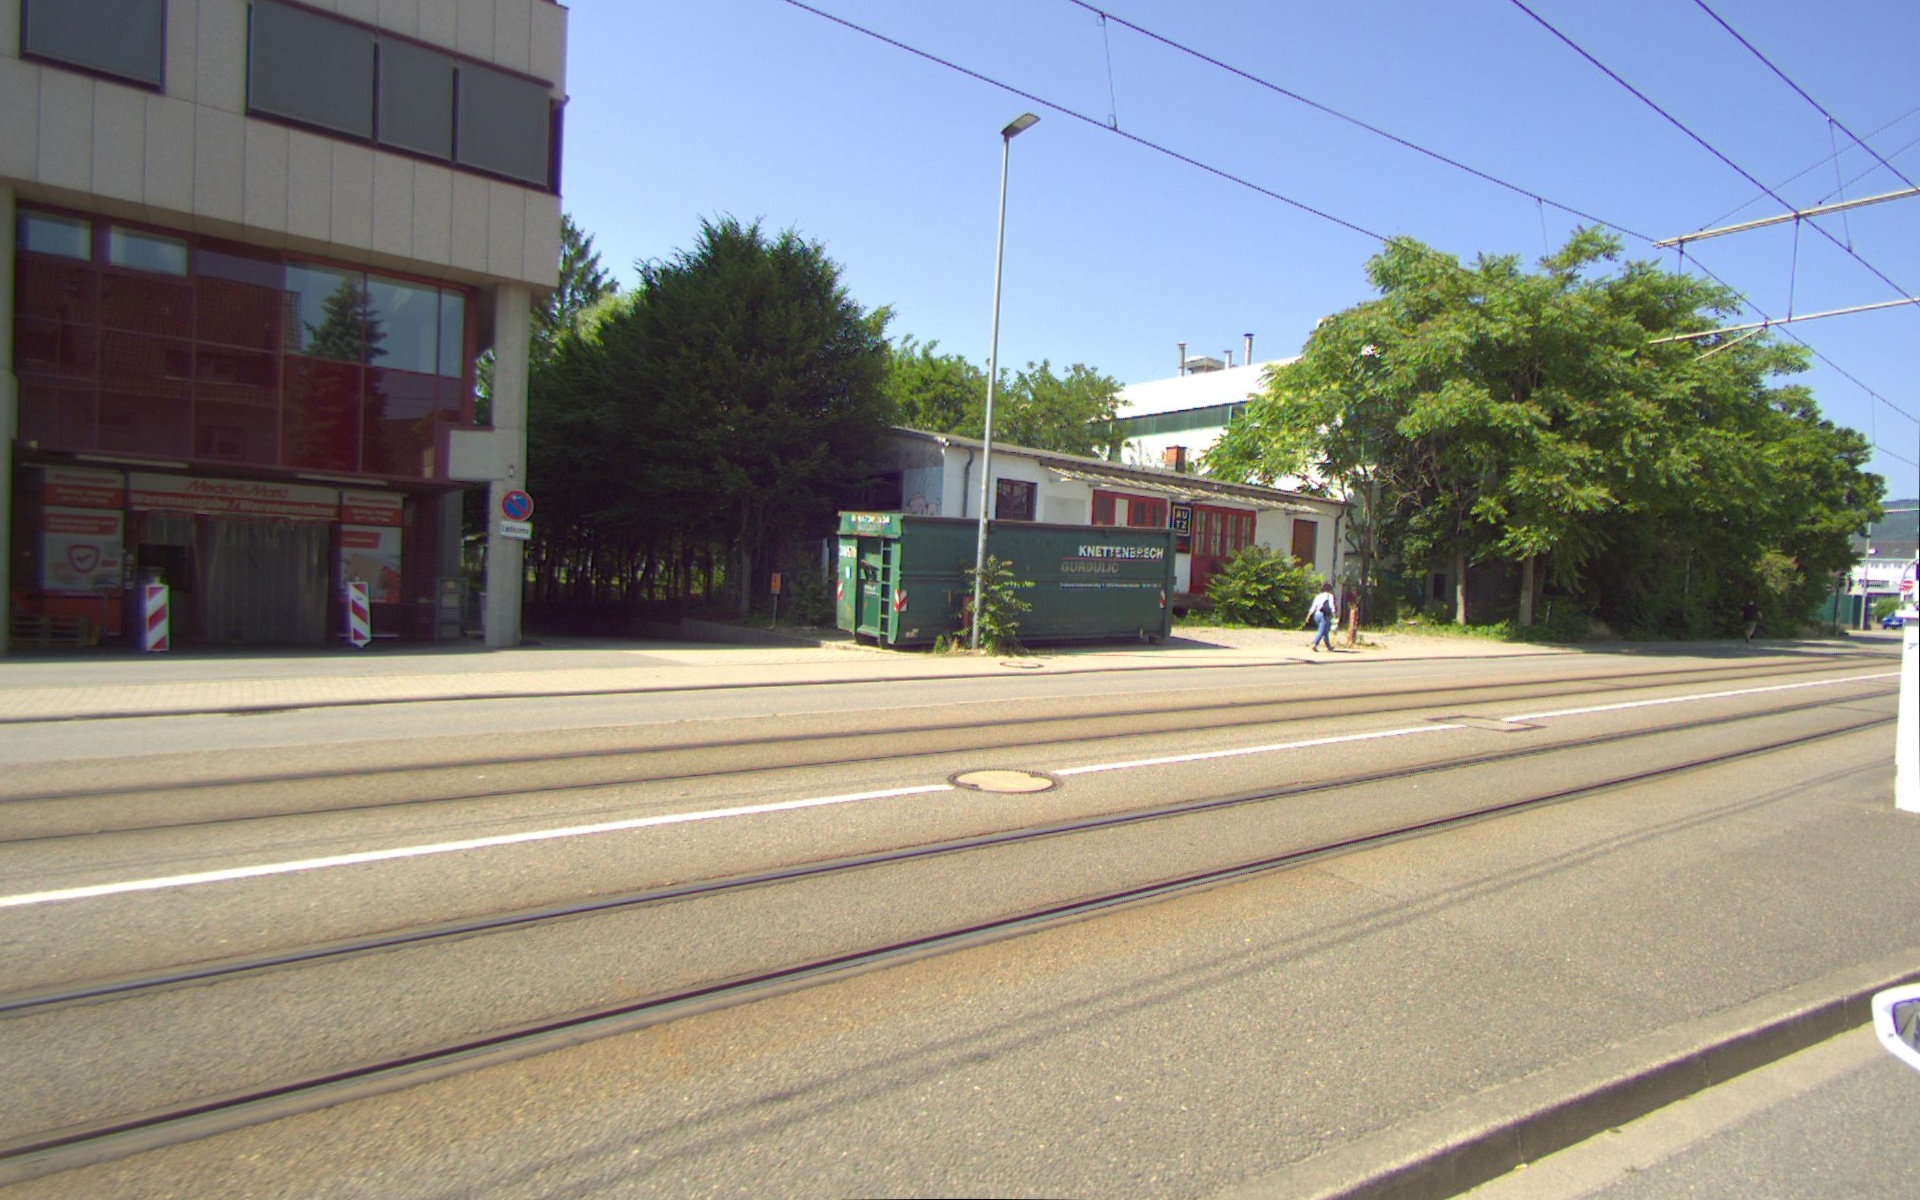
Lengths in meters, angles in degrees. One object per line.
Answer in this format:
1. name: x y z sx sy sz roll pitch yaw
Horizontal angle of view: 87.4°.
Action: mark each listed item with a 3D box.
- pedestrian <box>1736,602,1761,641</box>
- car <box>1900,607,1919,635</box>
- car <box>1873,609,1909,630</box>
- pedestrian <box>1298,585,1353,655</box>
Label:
1. pedestrian: 31.735 0.853 40.428 0.651 1.558 0.579 1 1 -37
2. car: 57.044 1.277 59.051 3.959 1.573 1.775 1 1 -34
3. car: 73.339 1.534 79.183 1.734 1.509 3.745 2 1 39
4. pedestrian: 8.407 0.457 23.124 0.830 1.558 0.828 1 1 -37
